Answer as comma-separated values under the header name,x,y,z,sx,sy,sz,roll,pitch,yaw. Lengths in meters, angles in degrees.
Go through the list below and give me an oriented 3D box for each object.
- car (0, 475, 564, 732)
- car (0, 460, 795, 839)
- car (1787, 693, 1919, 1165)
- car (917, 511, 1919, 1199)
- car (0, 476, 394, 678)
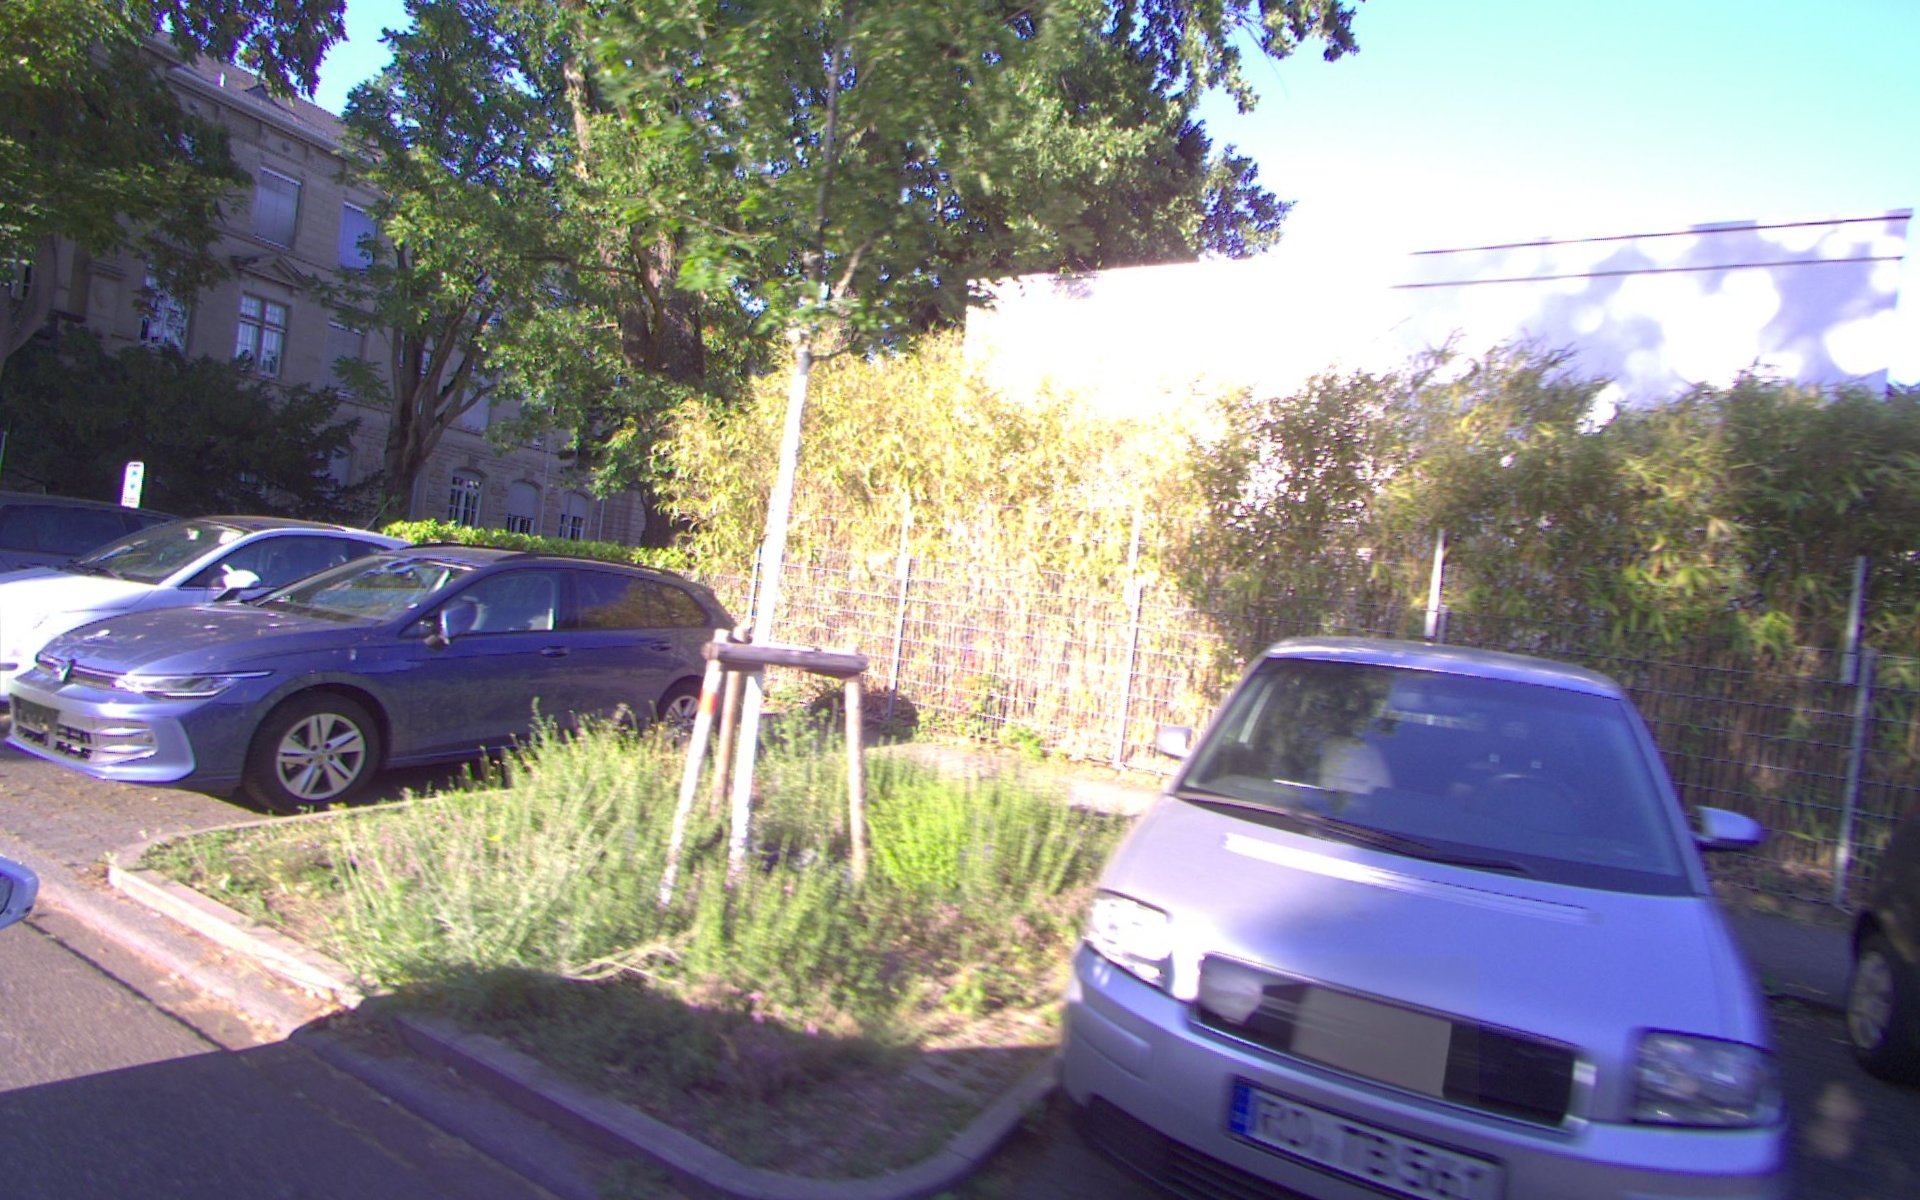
name,x,y,z,sx,sy,sz,roll,pitch,yaw
car,-5.444,0.109,7.988,1.647,1.534,3.960,7,-1,32
car,-3.275,0.326,6.770,1.858,1.568,4.503,7,-1,27
car,3.814,1.137,2.485,1.760,1.542,3.691,7,-1,26
car,1.579,0.818,3.470,1.732,1.603,3.501,7,-1,29
car,-7.680,-0.163,9.146,1.843,1.534,3.960,4,-2,31
